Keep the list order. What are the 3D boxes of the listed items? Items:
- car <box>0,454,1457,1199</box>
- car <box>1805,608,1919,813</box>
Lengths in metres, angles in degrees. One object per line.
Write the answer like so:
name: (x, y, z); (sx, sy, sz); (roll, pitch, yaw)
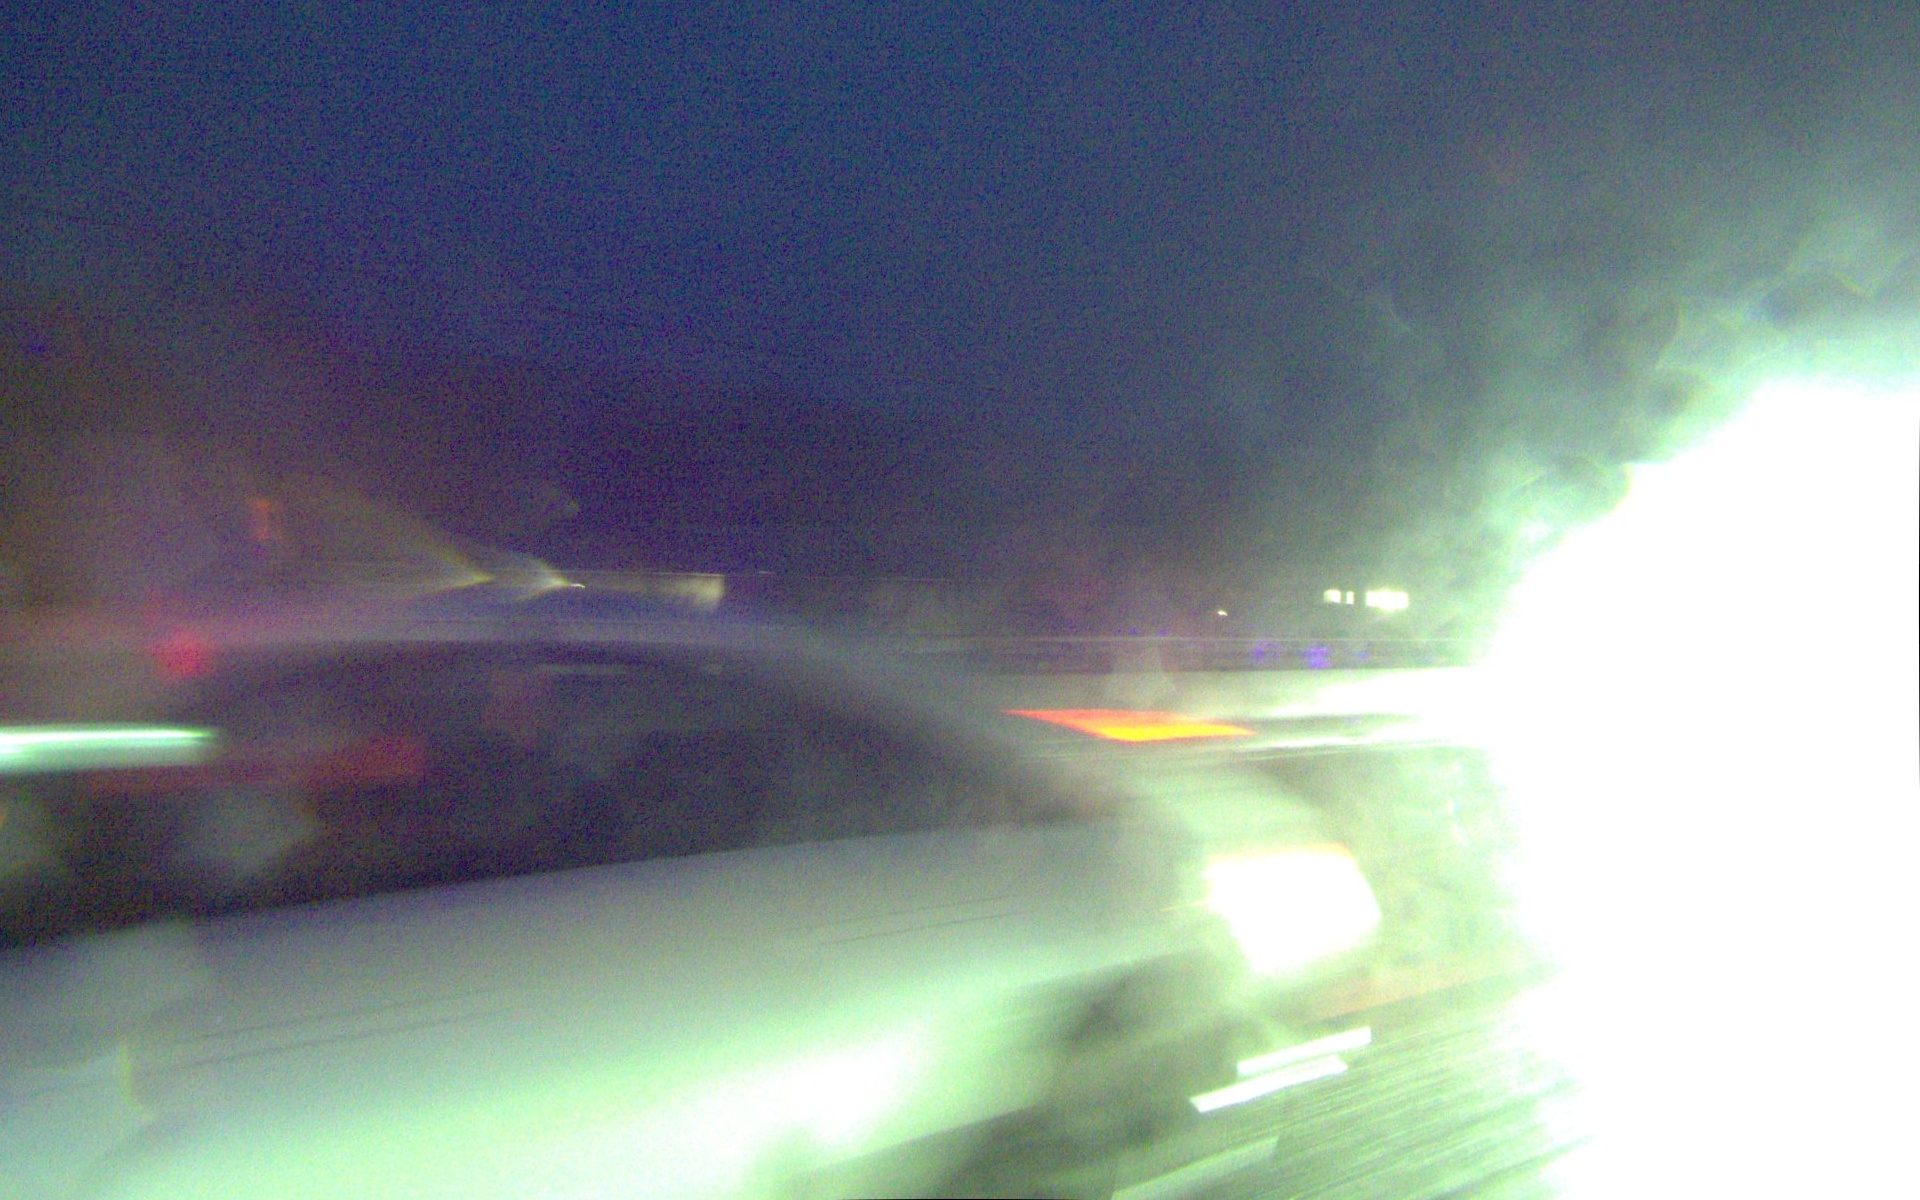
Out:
car: (-1.107, 0.629, 2.309); (4.542, 1.596, 1.835); (1, 0, -30)
car: (9.610, 0.943, 9.368); (4.377, 1.651, 1.791); (1, 0, -38)
